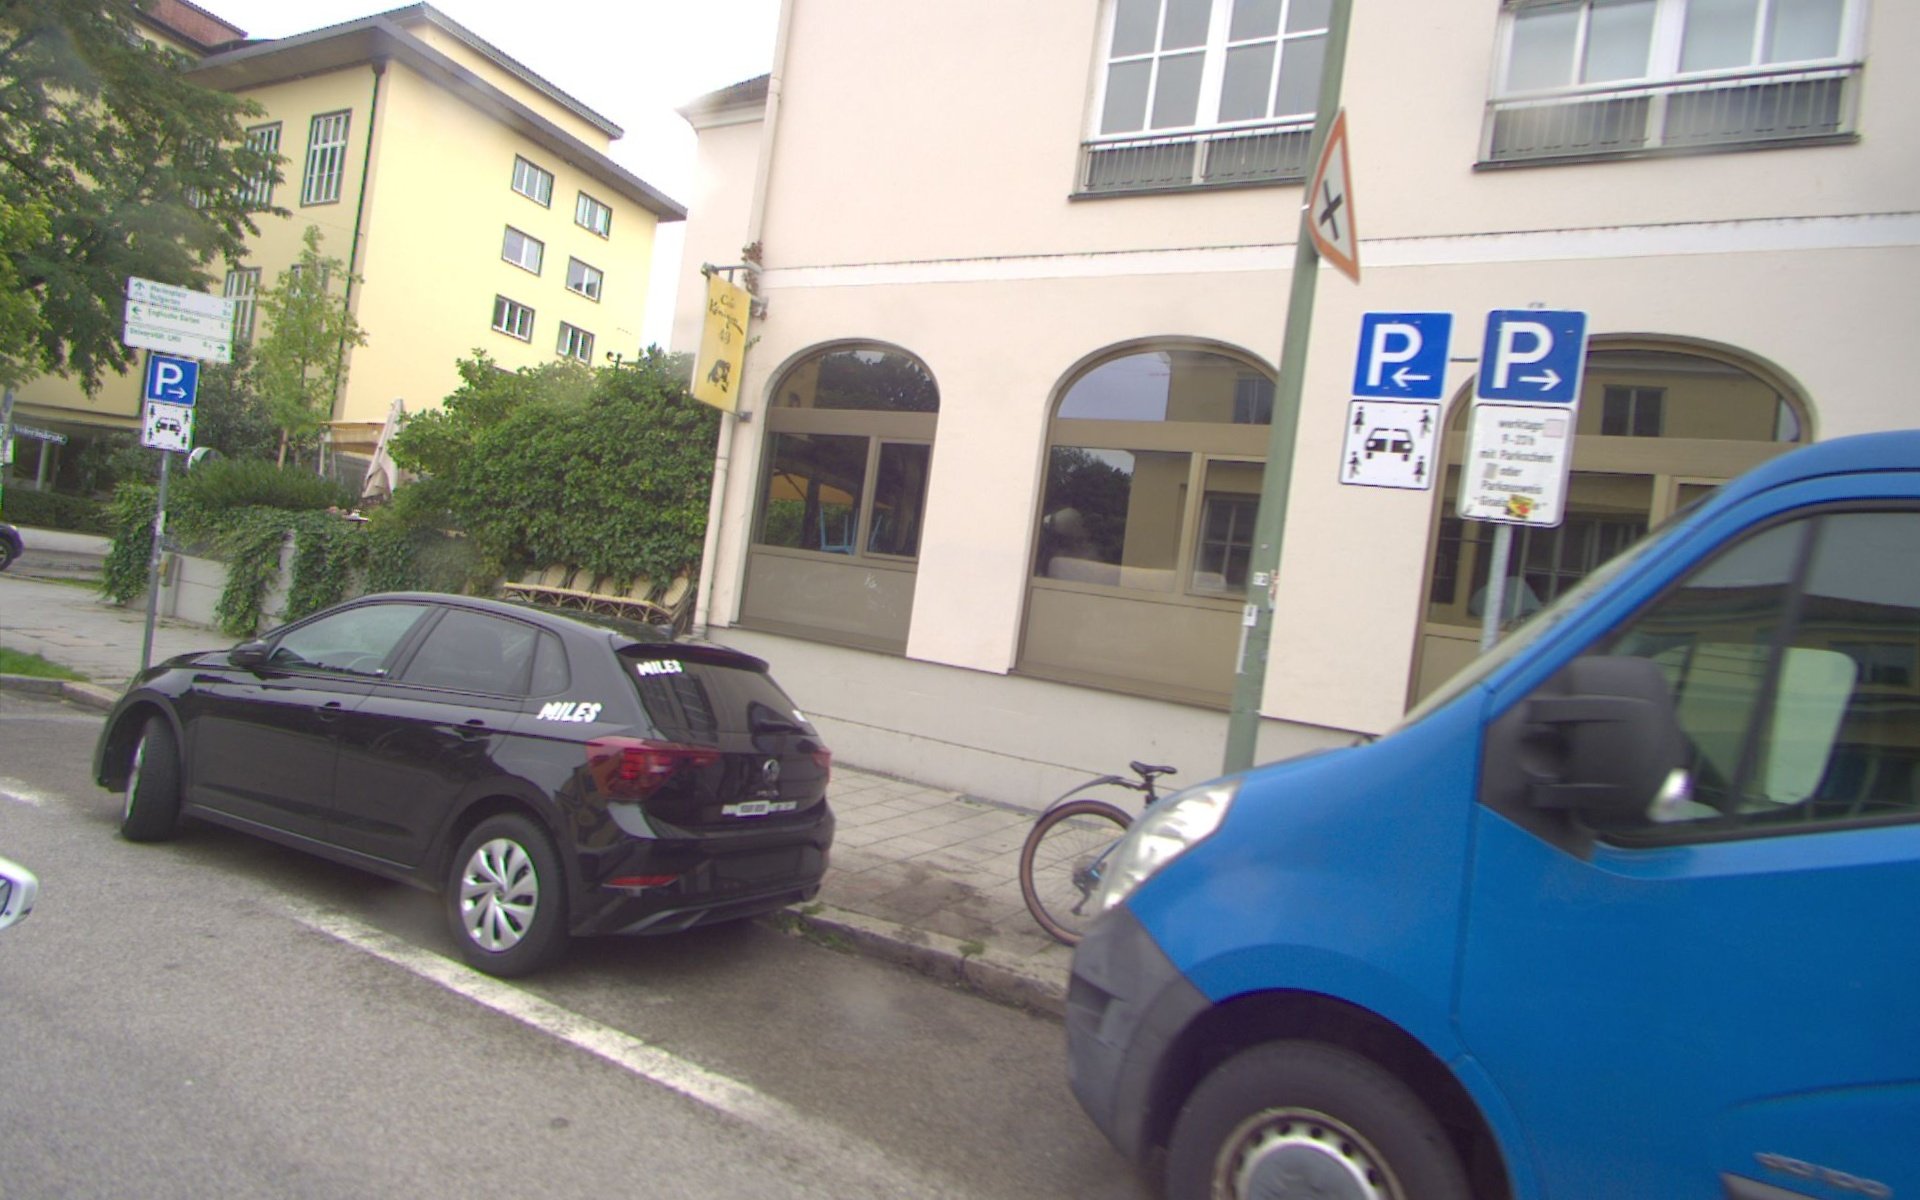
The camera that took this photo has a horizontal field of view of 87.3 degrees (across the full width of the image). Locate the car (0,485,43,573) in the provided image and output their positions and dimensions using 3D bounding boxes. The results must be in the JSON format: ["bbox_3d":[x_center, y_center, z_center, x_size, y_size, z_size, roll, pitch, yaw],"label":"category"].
[{"bbox_3d":[-20.429,-1.585,18.874,1.964,1.715,4.381,8,0,9],"label":"car"}]

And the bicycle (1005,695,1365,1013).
[{"bbox_3d":[1.142,1.207,5.148,1.559,1.202,0.667,8,0,19],"label":"bicycle"}]

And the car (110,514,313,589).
[{"bbox_3d":[-19.976,-1.246,27.028,1.579,1.453,3.983,6,-1,30],"label":"car"}]

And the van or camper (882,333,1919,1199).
[{"bbox_3d":[2.741,0.842,2.369,5.347,2.253,2.068,7,-5,31],"label":"van or camper"}]

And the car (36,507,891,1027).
[{"bbox_3d":[-2.555,0.621,5.128,3.888,1.533,1.712,7,-5,26],"label":"car"}]

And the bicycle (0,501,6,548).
[{"bbox_3d":[-24.936,-2.019,24.907,0.600,1.163,1.737,7,-1,34],"label":"bicycle"}]
